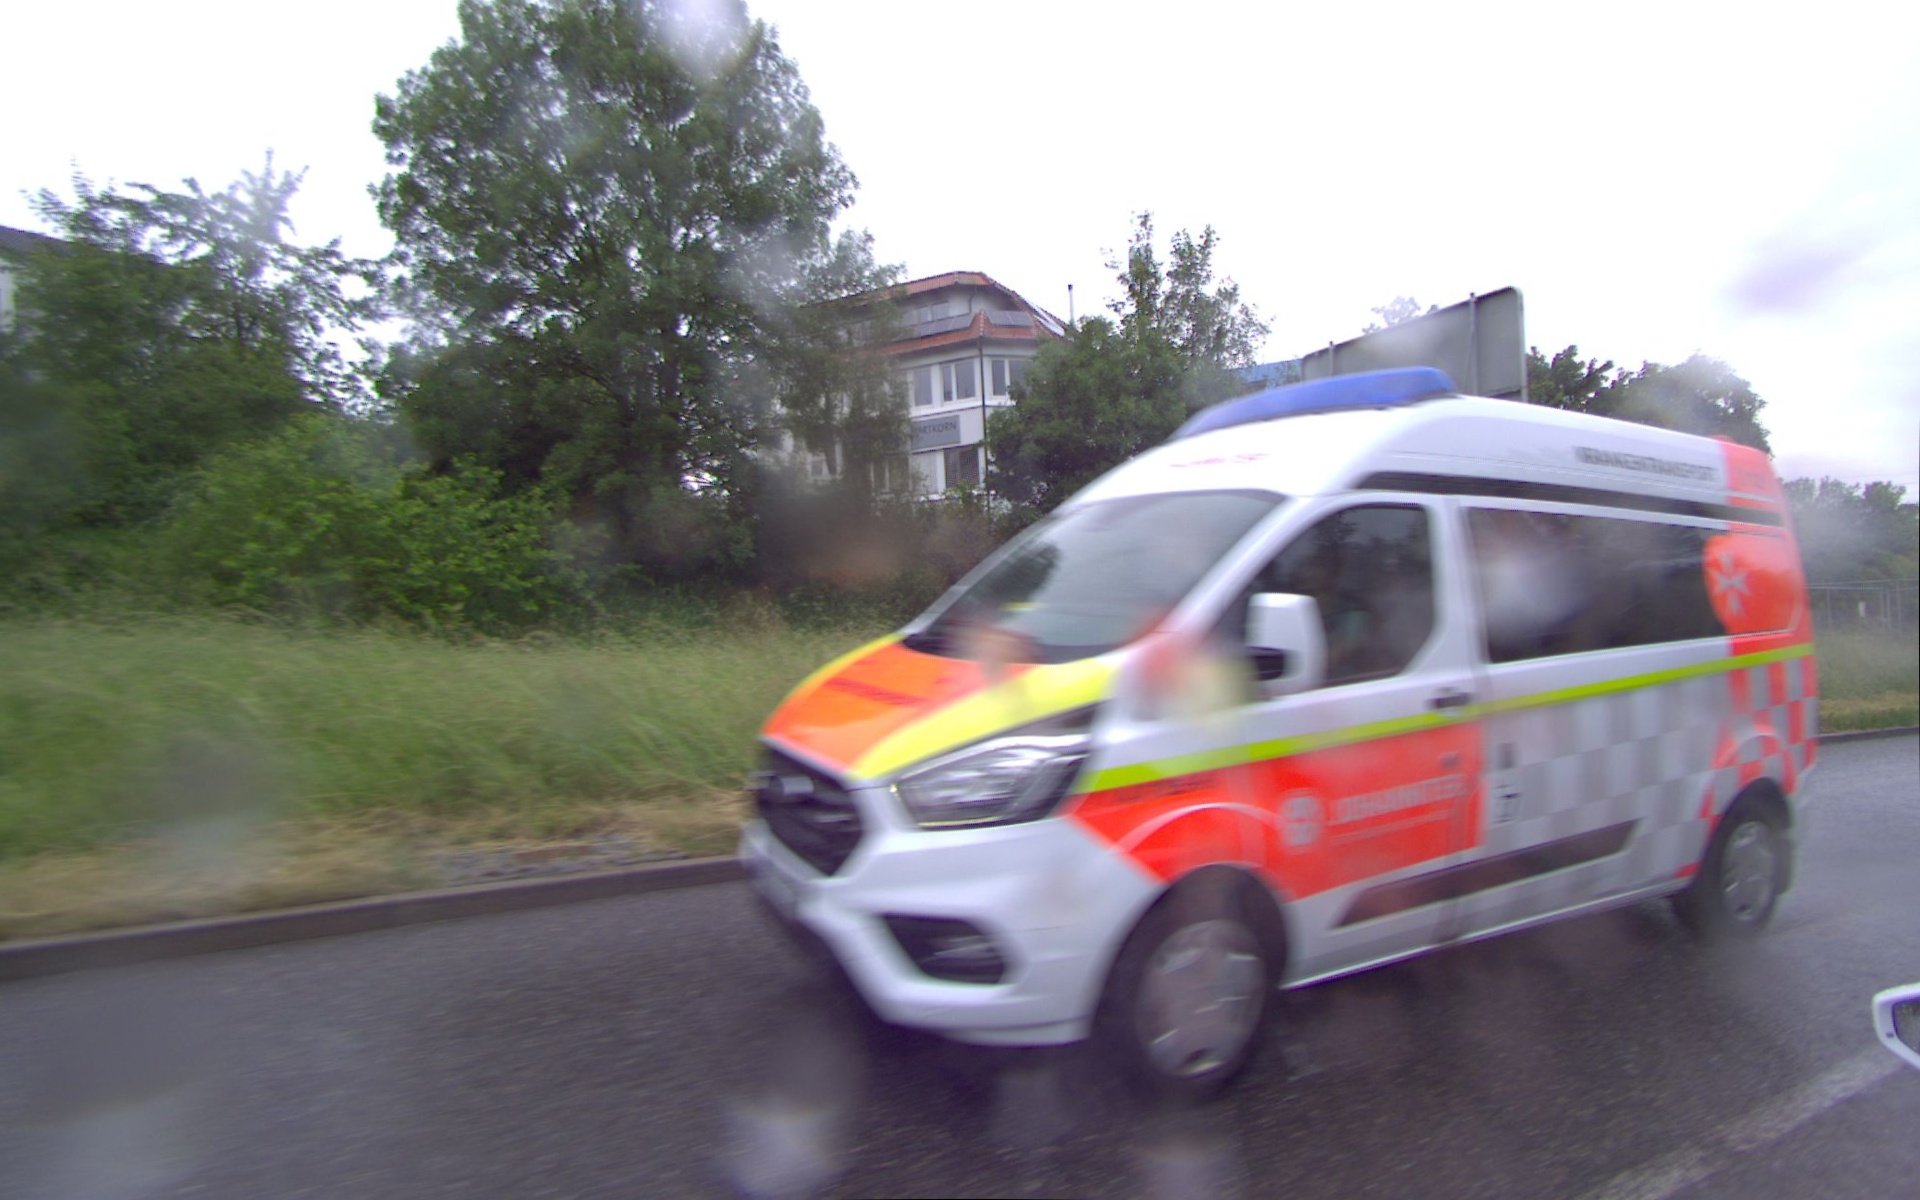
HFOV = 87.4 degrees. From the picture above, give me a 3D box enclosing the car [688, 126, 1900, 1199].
[{"bbox_3d":[1.757,0.221,4.462,5.390,2.450,2.035,1,0,-30],"label":"car"}]
